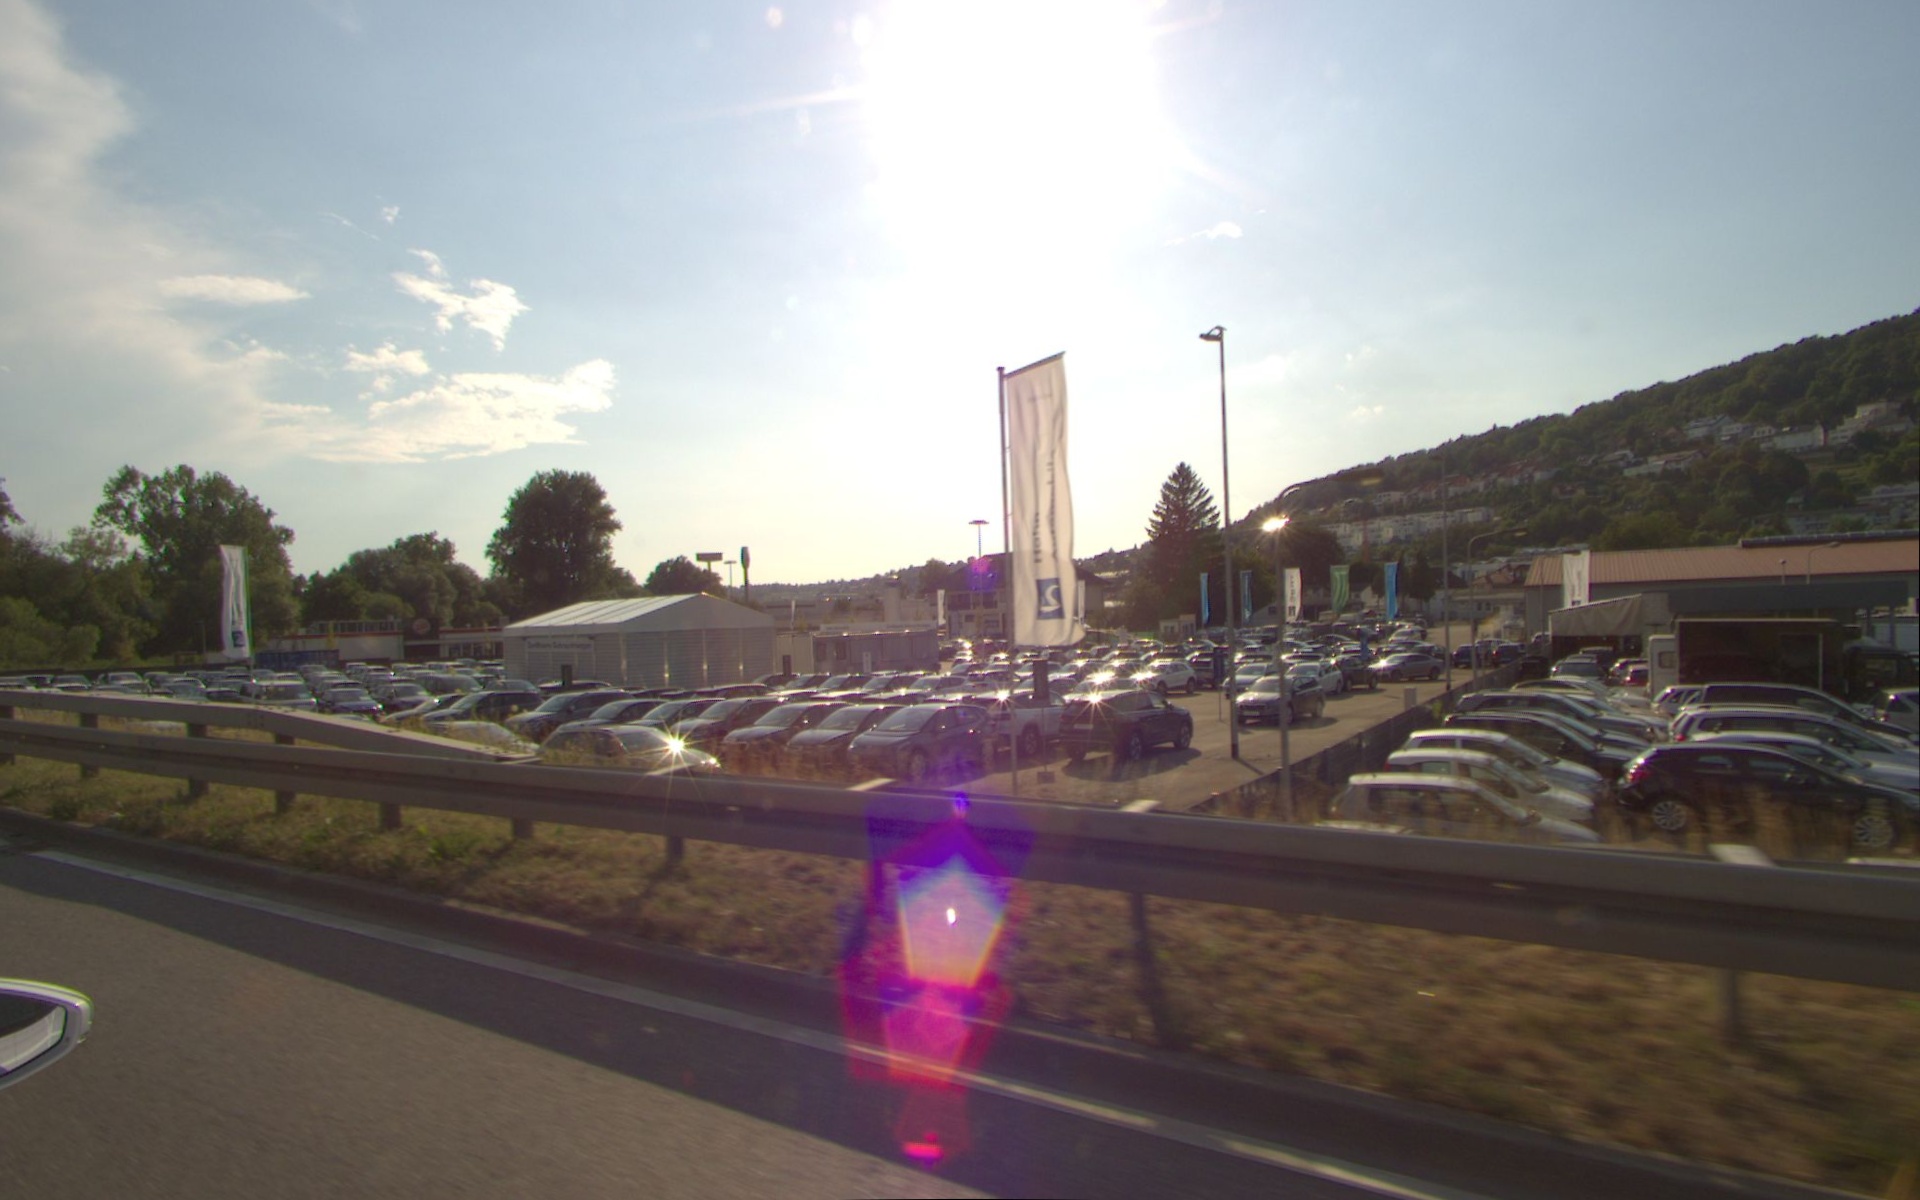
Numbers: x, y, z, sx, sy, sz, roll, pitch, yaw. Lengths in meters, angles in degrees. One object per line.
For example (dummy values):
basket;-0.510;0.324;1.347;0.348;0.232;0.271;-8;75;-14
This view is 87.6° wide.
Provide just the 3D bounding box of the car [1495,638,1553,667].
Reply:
car;34.864;3.206;61.890;3.958;1.739;1.982;1;-2;-42

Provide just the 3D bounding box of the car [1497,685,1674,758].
car;16.618;3.174;26.672;3.842;1.722;1.592;-3;-3;37

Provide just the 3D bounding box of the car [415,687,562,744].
car;-16.585;4.033;35.408;1.778;1.628;4.402;-1;-2;38

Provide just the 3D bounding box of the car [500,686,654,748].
car;-12.414;3.739;32.673;1.819;1.687;4.402;-3;-3;38

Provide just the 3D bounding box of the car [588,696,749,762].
car;-8.518;3.725;29.580;1.779;1.562;4.402;-3;-3;38

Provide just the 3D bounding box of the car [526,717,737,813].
car;-6.840;3.318;20.701;4.371;1.562;1.792;-3;-3;32

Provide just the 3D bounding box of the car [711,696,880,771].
car;-4.255;3.450;26.559;1.779;1.562;4.402;-3;-3;38

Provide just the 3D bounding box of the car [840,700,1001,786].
car;-0.835;3.244;23.368;1.763;1.562;3.964;-2;-3;34

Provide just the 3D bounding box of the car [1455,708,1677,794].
car;13.781;3.374;22.902;4.189;1.614;1.592;-3;-3;37

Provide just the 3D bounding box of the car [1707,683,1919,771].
car;20.213;2.938;23.725;3.969;1.824;1.592;-3;-3;37

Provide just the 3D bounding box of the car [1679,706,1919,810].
car;17.276;3.108;20.203;4.441;1.722;1.959;-3;-3;37

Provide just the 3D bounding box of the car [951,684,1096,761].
car;1.809;3.242;27.268;1.779;1.735;4.402;-3;-3;38

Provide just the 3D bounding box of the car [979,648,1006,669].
car;2.396;4.223;72.527;1.770;1.474;4.002;-1;-3;4

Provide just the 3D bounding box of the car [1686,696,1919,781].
car;18.617;3.016;22.351;3.842;1.583;1.592;-3;-3;37

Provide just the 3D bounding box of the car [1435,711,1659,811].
car;12.257;3.289;21.024;3.866;1.715;1.591;-3;-3;38

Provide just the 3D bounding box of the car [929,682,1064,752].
car;1.175;3.404;29.802;1.779;1.735;4.402;-3;-3;38

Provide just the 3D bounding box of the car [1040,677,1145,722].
car;4.846;3.547;36.239;1.779;1.386;4.402;-3;-3;38

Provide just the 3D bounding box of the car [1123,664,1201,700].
car;9.842;3.925;48.602;1.781;1.562;4.310;-3;-3;42

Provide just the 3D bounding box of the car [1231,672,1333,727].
car;10.671;3.216;33.015;1.779;1.562;4.402;-3;-3;38

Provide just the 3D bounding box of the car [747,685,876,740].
car;-5.067;3.814;34.578;1.779;1.562;4.402;-3;-3;38

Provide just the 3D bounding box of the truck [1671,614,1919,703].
truck;24.299;1.697;29.039;5.890;2.400;1.989;-3;-3;34

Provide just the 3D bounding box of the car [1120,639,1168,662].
car;17.020;4.693;92.896;1.981;2.039;3.962;1;-3;-45

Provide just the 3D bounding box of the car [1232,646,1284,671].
car;22.635;4.399;75.975;3.958;1.739;1.982;1;-2;-42

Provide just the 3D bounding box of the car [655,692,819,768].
car;-6.200;3.583;28.258;1.779;1.735;4.402;-3;-3;38

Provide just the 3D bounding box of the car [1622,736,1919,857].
car;13.770;3.247;17.022;4.121;1.526;1.593;-3;0;33

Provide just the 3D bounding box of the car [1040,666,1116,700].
car;6.200;4.282;52.179;1.781;1.562;4.310;-3;-3;42

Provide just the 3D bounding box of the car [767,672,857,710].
car;-6.841;4.193;46.652;1.762;1.584;3.968;-3;-3;42

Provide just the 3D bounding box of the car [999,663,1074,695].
car;4.175;4.236;54.163;1.781;1.562;4.310;-3;-3;42

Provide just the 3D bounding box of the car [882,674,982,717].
car;-1.111;3.916;41.621;1.779;1.562;4.402;-3;-3;38

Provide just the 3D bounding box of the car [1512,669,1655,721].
car;20.356;3.048;32.740;3.841;1.562;1.592;-3;-3;36

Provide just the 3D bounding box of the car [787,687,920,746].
car;-3.420;3.746;32.780;1.779;1.562;4.402;-3;-3;38

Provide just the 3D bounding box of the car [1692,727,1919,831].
car;15.876;3.242;18.449;3.818;1.530;1.592;-3;-3;37

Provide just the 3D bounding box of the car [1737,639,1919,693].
car;26.714;2.014;30.812;4.289;1.562;1.790;-3;-3;36

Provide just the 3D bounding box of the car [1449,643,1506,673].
car;32.977;3.667;63.799;3.958;1.739;1.982;1;-2;-42

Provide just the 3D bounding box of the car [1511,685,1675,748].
car;18.102;3.276;28.693;3.842;1.562;1.790;-3;-3;36

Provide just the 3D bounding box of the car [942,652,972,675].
car;-0.169;4.397;69.760;1.770;1.474;4.002;-1;-3;4

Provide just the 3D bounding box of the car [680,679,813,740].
car;-7.460;3.821;35.297;1.781;1.723;4.401;-7;-5;38

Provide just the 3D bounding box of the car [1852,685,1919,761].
car;23.965;2.944;23.883;3.842;1.722;1.592;-3;-3;37

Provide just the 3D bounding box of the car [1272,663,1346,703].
car;15.493;3.635;44.329;1.779;1.562;4.316;-3;-3;38

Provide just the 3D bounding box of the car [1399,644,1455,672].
car;30.652;3.789;65.702;3.958;1.739;1.982;1;-2;-42

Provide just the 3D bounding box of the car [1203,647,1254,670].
car;20.934;4.535;78.037;3.958;1.739;1.982;1;-2;-42

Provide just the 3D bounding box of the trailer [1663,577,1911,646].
trailer;27.434;0.455;33.616;6.203;2.047;1.988;-3;-3;36

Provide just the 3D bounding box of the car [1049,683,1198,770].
car;4.210;3.099;25.232;1.779;1.735;4.401;-3;-2;38

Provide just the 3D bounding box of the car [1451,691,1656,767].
car;14.750;3.140;24.990;4.232;1.614;1.592;-3;-3;37

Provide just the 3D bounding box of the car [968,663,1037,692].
car;2.430;4.329;56.260;1.694;1.482;3.966;-3;-3;43

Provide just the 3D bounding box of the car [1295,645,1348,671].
car;25.983;4.151;71.966;3.958;1.739;1.982;1;-2;-42

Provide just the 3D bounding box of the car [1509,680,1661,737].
car;19.263;3.298;30.924;3.842;1.562;1.790;-3;-3;36
